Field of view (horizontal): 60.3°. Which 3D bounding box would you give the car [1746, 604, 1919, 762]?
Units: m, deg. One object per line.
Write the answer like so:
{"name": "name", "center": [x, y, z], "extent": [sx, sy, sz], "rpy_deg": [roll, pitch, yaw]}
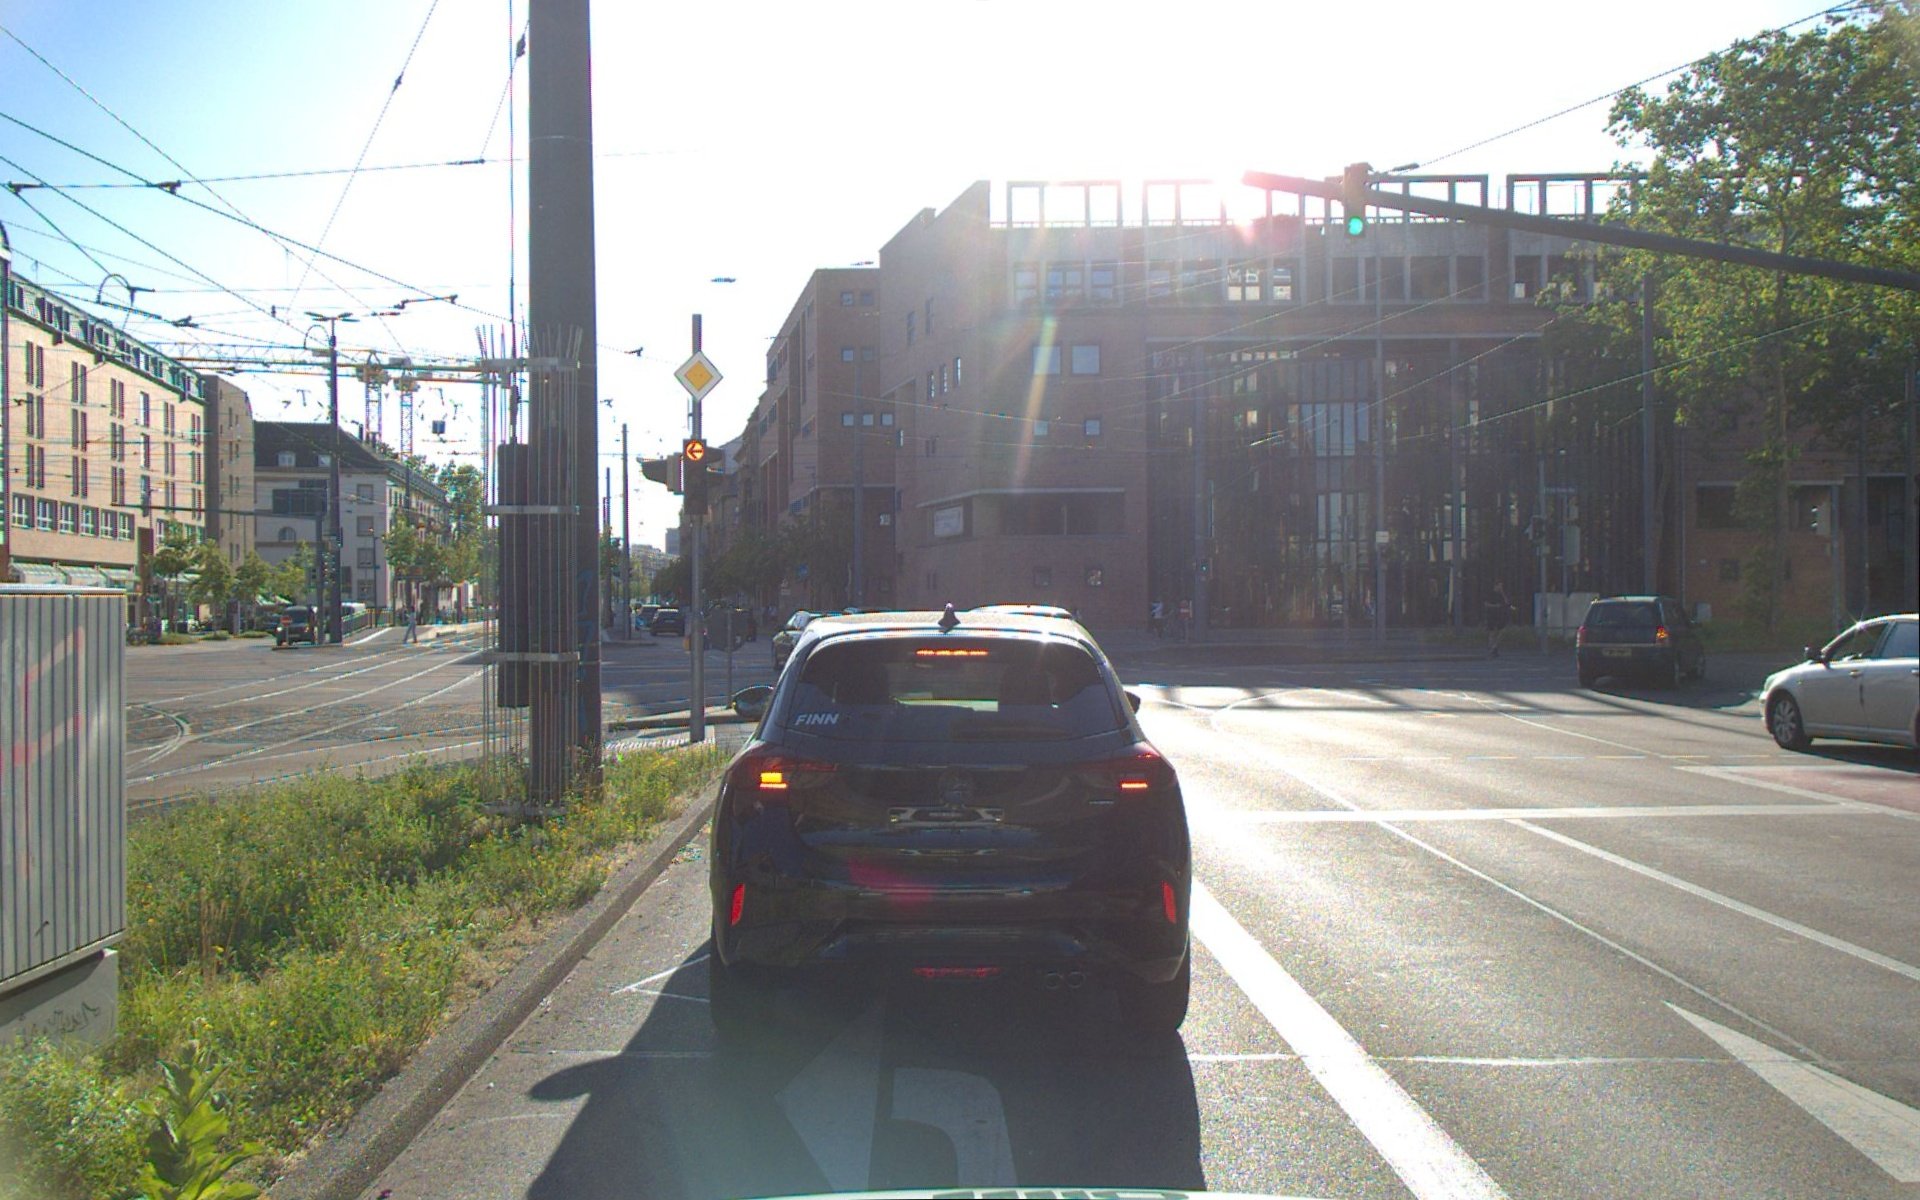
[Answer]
{"name": "car", "center": [9.831, 0.781, 16.471], "extent": [1.716, 1.456, 4.486], "rpy_deg": [-1, 0, -2]}

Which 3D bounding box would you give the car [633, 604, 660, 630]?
{"name": "car", "center": [-20.723, 1.083, 109.175], "extent": [1.706, 1.680, 3.988], "rpy_deg": [0, 0, -12]}

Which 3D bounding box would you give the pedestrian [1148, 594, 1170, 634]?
{"name": "pedestrian", "center": [8.227, 0.577, 68.278], "extent": [0.881, 1.645, 0.561], "rpy_deg": [-1, 0, 8]}

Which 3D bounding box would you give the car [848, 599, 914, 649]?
{"name": "car", "center": [-2.529, 0.724, 51.891], "extent": [1.773, 1.483, 3.994], "rpy_deg": [1, 0, -7]}

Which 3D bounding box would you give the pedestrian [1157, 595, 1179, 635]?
{"name": "pedestrian", "center": [8.508, 0.615, 67.566], "extent": [0.881, 1.645, 0.561], "rpy_deg": [-1, 0, 8]}

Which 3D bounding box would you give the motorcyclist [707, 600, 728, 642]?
{"name": "motorcyclist", "center": [-9.086, 0.775, 61.871], "extent": [0.731, 1.557, 1.018], "rpy_deg": [-1, 0, -10]}

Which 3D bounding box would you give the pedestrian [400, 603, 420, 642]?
{"name": "pedestrian", "center": [-24.161, 0.983, 72.690], "extent": [0.756, 1.669, 0.738], "rpy_deg": [-1, 0, -26]}

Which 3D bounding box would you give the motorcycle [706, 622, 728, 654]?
{"name": "motorcycle", "center": [-9.091, 1.422, 61.816], "extent": [0.761, 1.135, 1.965], "rpy_deg": [-1, 0, -9]}

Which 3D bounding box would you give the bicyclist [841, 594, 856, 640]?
{"name": "bicyclist", "center": [-4.493, 0.687, 66.476], "extent": [0.565, 1.822, 0.863], "rpy_deg": [-1, 0, -2]}

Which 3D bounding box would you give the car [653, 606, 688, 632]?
{"name": "car", "center": [-15.943, 1.013, 91.001], "extent": [1.707, 1.373, 3.988], "rpy_deg": [0, 0, -12]}

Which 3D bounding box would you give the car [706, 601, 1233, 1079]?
{"name": "car", "center": [0.045, 0.741, 7.103], "extent": [1.615, 1.458, 4.000], "rpy_deg": [0, 0, 0]}

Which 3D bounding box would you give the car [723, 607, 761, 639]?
{"name": "car", "center": [-10.751, 1.108, 81.345], "extent": [1.774, 1.483, 3.992], "rpy_deg": [1, 0, -9]}

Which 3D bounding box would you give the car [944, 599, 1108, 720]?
{"name": "car", "center": [0.834, 0.764, 23.267], "extent": [1.653, 1.458, 4.147], "rpy_deg": [2, 1, -7]}

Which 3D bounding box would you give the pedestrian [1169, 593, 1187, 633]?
{"name": "pedestrian", "center": [9.102, 0.528, 69.167], "extent": [0.722, 1.645, 0.561], "rpy_deg": [-1, 0, 8]}

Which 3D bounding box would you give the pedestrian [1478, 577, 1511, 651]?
{"name": "pedestrian", "center": [13.085, 0.333, 40.454], "extent": [0.692, 1.789, 0.560], "rpy_deg": [-1, 0, 25]}

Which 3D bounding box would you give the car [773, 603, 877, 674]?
{"name": "car", "center": [-3.267, 0.862, 39.240], "extent": [1.780, 1.518, 4.480], "rpy_deg": [-2, 0, -13]}

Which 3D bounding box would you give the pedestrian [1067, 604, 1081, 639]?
{"name": "pedestrian", "center": [4.710, 0.885, 68.111], "extent": [0.519, 1.455, 0.598], "rpy_deg": [-1, 0, -1]}

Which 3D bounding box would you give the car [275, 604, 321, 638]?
{"name": "car", "center": [-31.200, 0.982, 78.019], "extent": [1.717, 1.531, 3.861], "rpy_deg": [-1, 0, -18]}

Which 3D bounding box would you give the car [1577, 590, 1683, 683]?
{"name": "car", "center": [12.887, 0.641, 31.683], "extent": [1.654, 1.657, 4.460], "rpy_deg": [-1, 0, 25]}
